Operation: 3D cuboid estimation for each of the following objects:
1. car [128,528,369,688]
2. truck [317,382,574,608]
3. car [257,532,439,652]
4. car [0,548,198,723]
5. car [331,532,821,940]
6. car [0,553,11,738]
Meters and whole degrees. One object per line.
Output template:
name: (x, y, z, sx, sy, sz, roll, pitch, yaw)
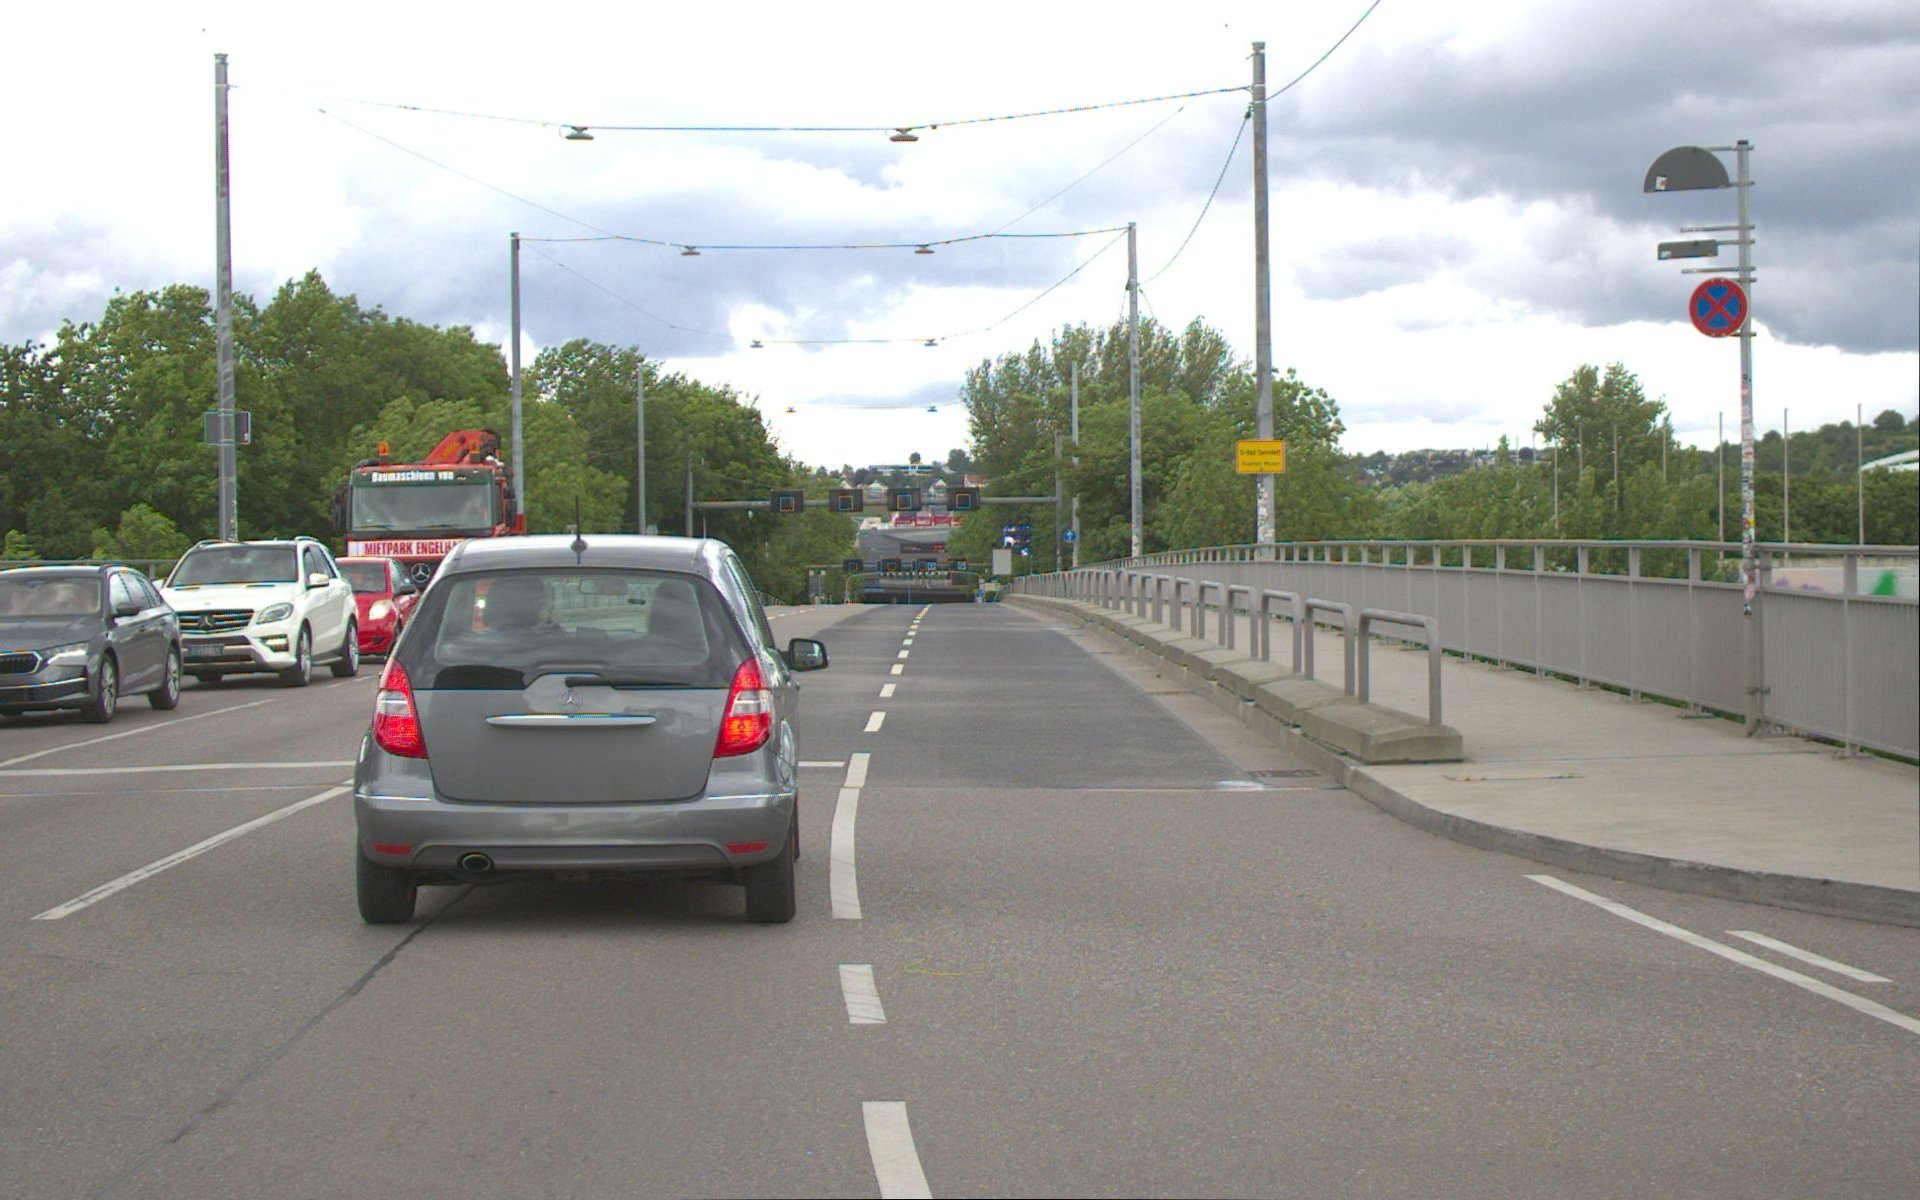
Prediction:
car: (-8.424, 0.041, 41.129, 1.880, 1.755, 4.803, -1, 1, 0)
truck: (-8.819, -1.778, 60.181, 3.005, 3.553, 9.983, -1, 1, 0)
car: (-8.680, -0.152, 49.058, 1.880, 1.597, 4.016, -1, 1, 0)
car: (-8.653, 0.295, 32.630, 1.835, 1.499, 4.517, -1, 1, 0)
car: (-1.544, 0.483, 15.045, 1.745, 1.545, 3.871, 0, 1, -1)
car: (-8.784, 0.429, 26.333, 1.835, 1.499, 3.871, -1, 1, 2)
